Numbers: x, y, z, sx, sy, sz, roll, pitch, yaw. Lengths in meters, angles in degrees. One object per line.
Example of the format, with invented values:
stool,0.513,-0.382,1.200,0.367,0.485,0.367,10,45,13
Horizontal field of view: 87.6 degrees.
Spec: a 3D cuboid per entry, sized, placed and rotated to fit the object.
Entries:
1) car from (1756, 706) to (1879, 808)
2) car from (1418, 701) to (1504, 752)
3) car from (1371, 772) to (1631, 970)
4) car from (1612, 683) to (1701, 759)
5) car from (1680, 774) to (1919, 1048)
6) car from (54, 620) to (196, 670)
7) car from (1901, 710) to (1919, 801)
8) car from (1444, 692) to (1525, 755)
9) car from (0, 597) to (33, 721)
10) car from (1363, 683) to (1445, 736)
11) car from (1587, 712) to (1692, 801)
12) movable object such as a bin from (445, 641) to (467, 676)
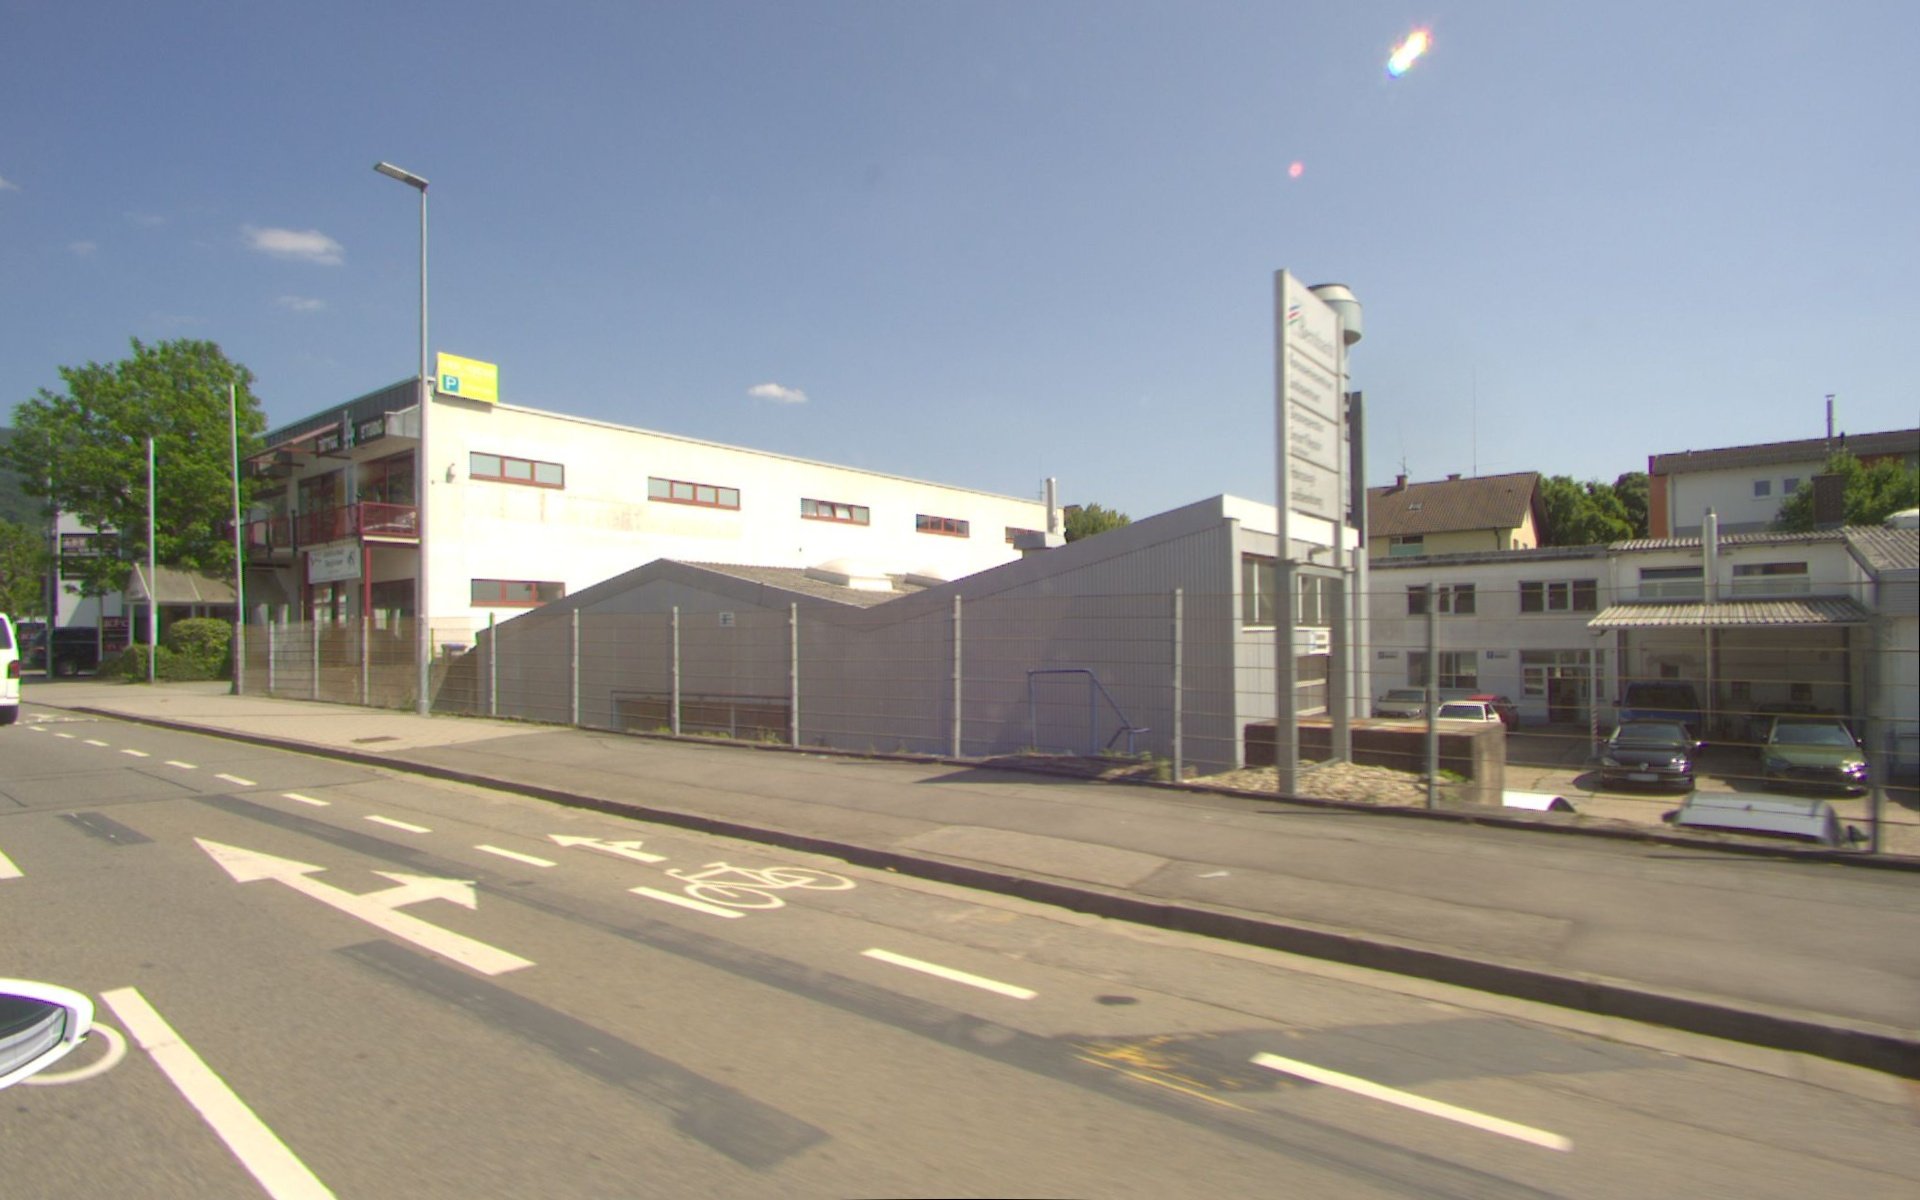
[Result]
car,18.770,3.355,22.073,1.839,1.683,3.972,-1,-1,38
car,15.716,3.908,31.353,1.847,1.421,3.817,-3,-6,35
car,7.406,3.451,13.538,3.964,1.852,1.981,5,-5,-43
car,19.627,3.317,28.199,1.891,1.879,3.977,-2,-4,36
car,9.228,3.193,11.223,1.828,2.038,3.977,-1,-4,37
car,-31.666,1.657,38.038,1.979,1.798,3.964,-1,-1,44
car,20.327,3.243,19.764,1.973,1.684,3.975,-1,-1,35
car,18.447,4.259,35.140,1.974,2.037,3.979,-3,-6,35
car,-18.342,1.015,17.850,4.486,2.086,1.928,-1,-1,37
car,16.110,3.912,36.235,1.973,1.726,3.979,-1,-4,35
car,15.724,3.537,23.185,1.821,1.535,3.976,-3,-3,35
movable object such as a bin,-15.330,1.781,30.463,0.538,1.025,0.410,-1,0,40
